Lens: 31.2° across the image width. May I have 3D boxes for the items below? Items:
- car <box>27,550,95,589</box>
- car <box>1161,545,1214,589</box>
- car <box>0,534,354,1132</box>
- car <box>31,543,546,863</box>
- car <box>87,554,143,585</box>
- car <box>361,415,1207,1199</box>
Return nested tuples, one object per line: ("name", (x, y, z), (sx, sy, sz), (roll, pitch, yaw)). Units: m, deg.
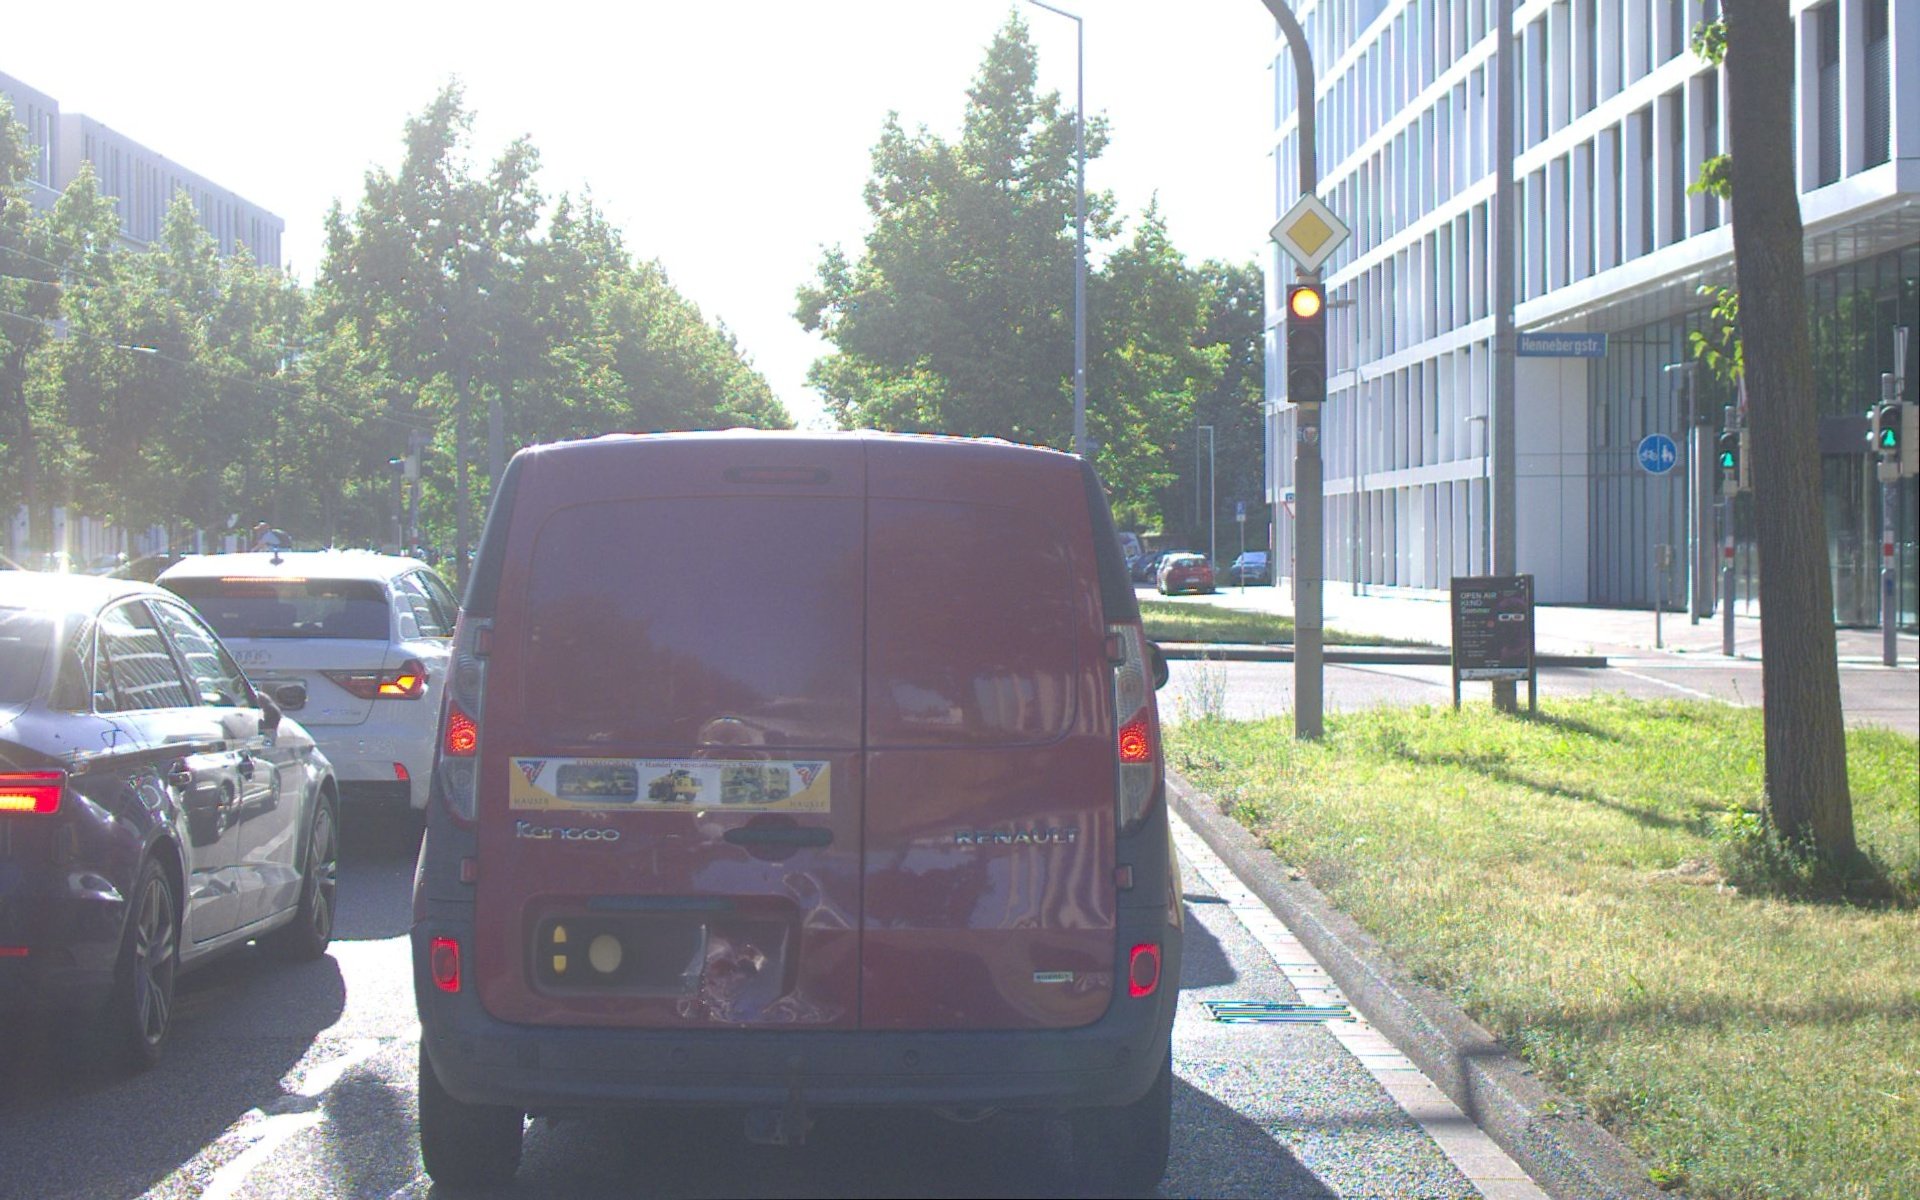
("car", (-35.759, -1.213, 136.809), (1.776, 1.523, 3.806), (0, 1, -1))
("car", (8.461, -1.252, 127.866), (1.758, 1.606, 3.903), (0, 1, 1))
("car", (-3.171, 0.554, 10.789), (1.808, 1.522, 4.113), (0, 1, 0))
("car", (-3.266, 0.428, 17.505), (1.808, 1.430, 4.113), (0, 1, 0))
("car", (-36.683, -1.340, 149.326), (1.580, 1.337, 3.712), (0, 1, -1))
("car", (-0.372, 0.460, 9.419), (1.808, 1.788, 4.113), (0, 1, 0))
